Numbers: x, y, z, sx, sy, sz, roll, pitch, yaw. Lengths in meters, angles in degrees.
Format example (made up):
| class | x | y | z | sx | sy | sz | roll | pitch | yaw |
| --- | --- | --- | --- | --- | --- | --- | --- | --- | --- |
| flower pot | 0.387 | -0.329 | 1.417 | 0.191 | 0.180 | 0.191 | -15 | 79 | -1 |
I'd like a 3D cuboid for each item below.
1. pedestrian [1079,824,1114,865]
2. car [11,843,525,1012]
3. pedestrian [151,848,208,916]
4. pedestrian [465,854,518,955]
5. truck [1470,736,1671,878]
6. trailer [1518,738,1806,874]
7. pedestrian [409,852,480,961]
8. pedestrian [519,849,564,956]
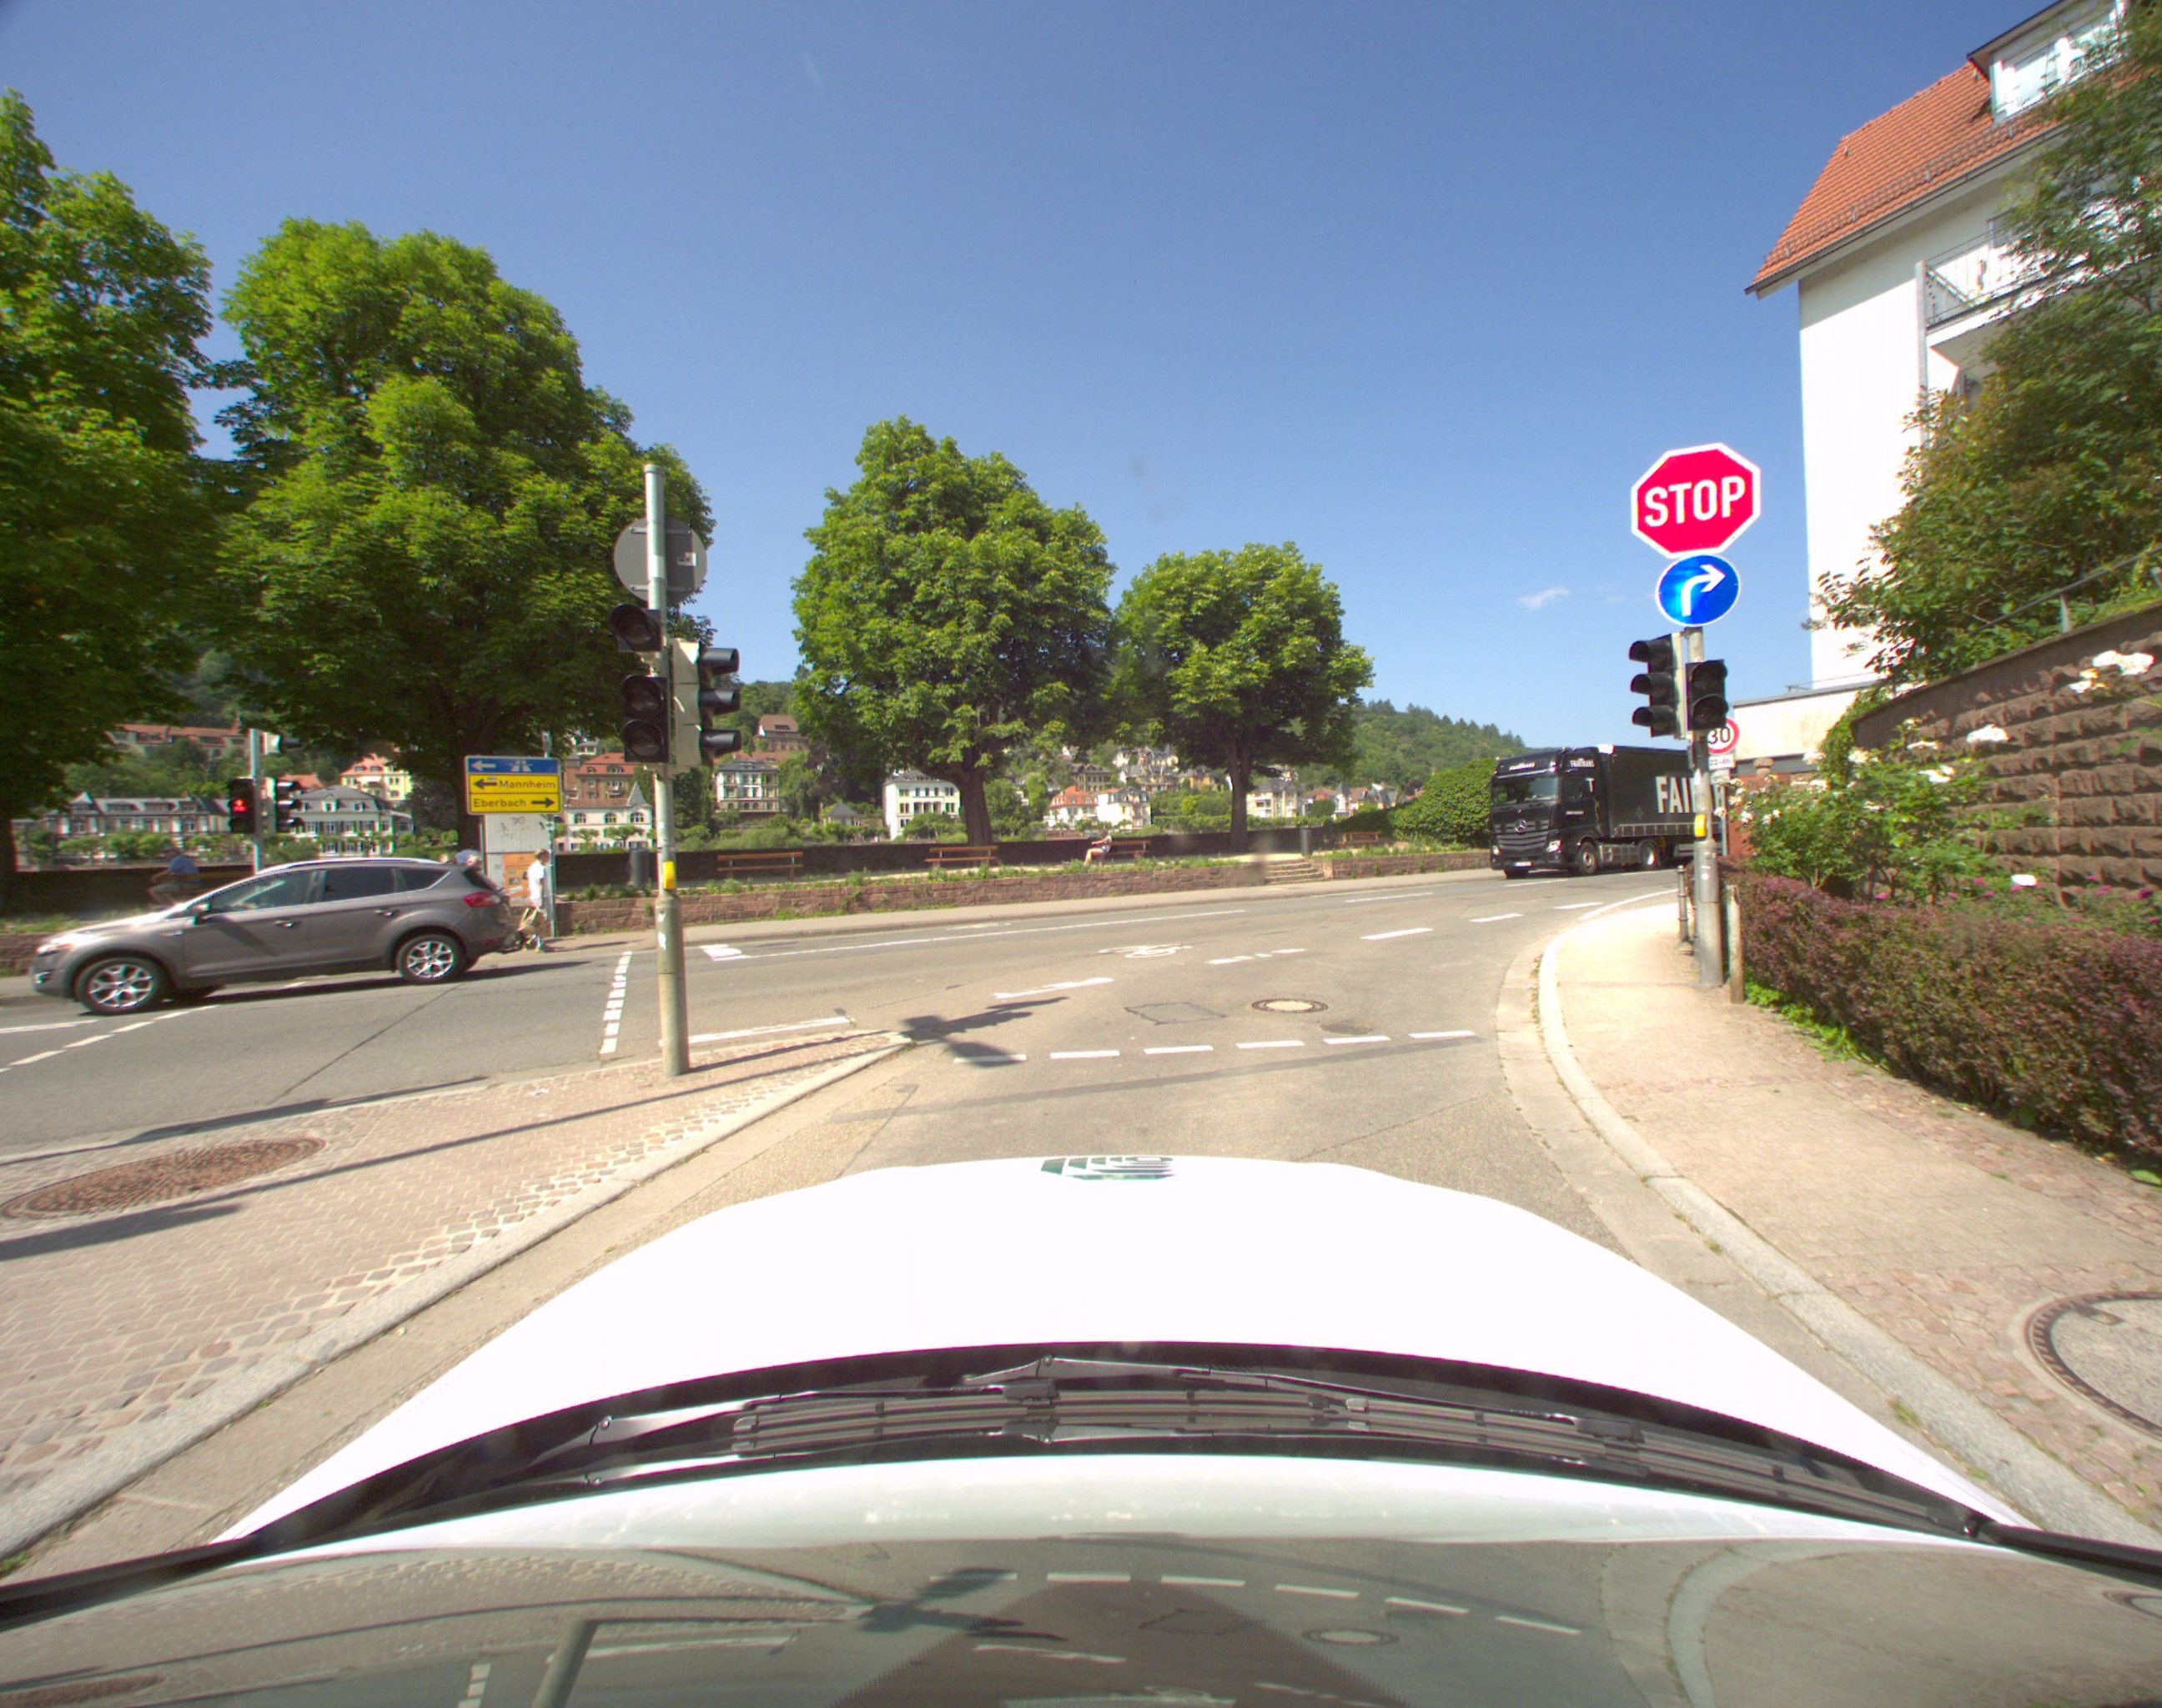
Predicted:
| class | x | y | z | sx | sy | sz | roll | pitch | yaw |
| --- | --- | --- | --- | --- | --- | --- | --- | --- | --- |
| pedestrian | 0.484 | -0.291 | 25.410 | 0.802 | 1.211 | 0.709 | 0 | -4 | -26 |
| car | -10.027 | 0.832 | 10.666 | 4.425 | 1.754 | 1.825 | -1 | -3 | -32 |
| pedestrian | -16.821 | 0.517 | 15.203 | 0.647 | 1.228 | 0.409 | -3 | 0 | -44 |
| pedestrian | -10.876 | 0.915 | 15.031 | 0.693 | 1.769 | 0.709 | -3 | -1 | -37 |
| truck | 15.804 | -1.451 | 26.235 | 5.951 | 4.071 | 2.812 | -3 | -2 | -30 |
| trailer | 21.451 | -1.719 | 29.515 | 13.813 | 4.104 | 2.815 | -3 | -2 | -30 |
| pedestrian | -11.029 | 0.904 | 14.116 | 0.626 | 1.802 | 0.729 | -5 | -1 | 35 |
| pedestrian | -9.436 | 0.824 | 14.238 | 0.582 | 1.802 | 0.698 | -2 | 0 | -34 |
